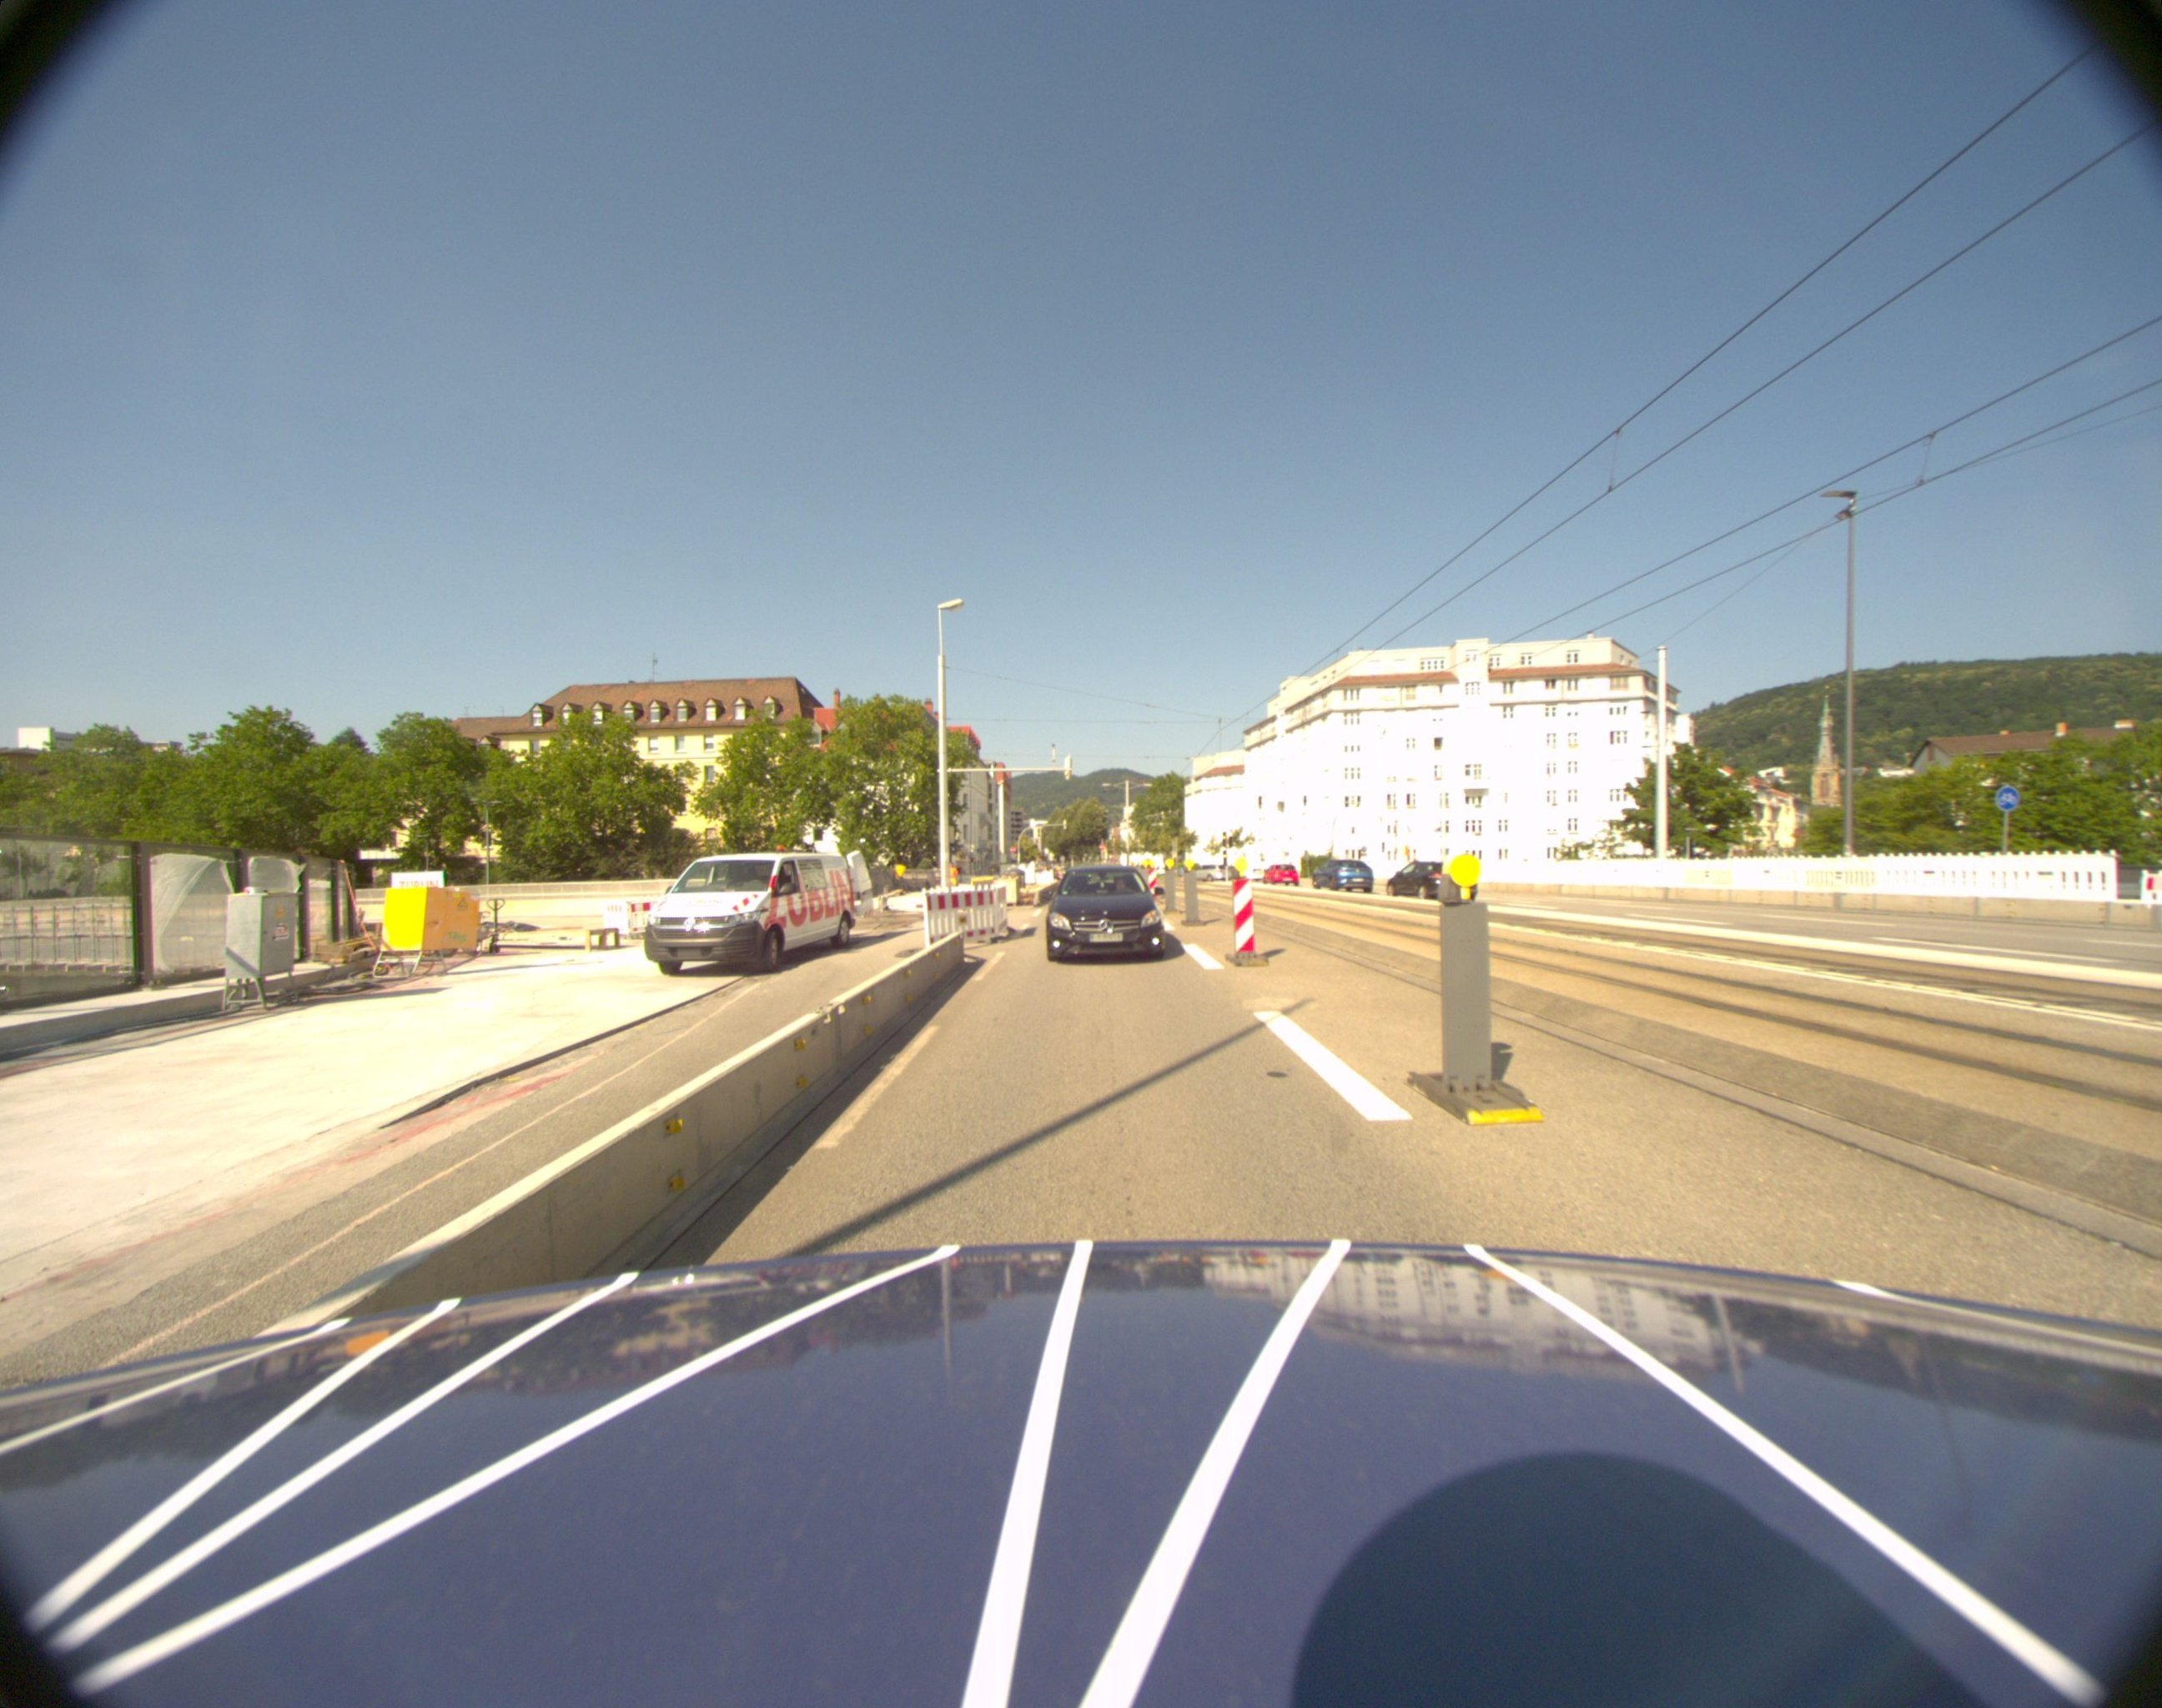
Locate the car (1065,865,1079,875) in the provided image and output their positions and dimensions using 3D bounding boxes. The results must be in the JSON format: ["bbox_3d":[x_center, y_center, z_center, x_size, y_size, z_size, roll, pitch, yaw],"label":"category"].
[{"bbox_3d":[-1.343,2.402,114.860,1.768,1.346,3.998,-2,-1,-6],"label":"car"}]

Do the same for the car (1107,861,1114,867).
[{"bbox_3d":[7.804,2.747,201.322,1.739,1.475,3.739,-1,-1,-3],"label":"car"}]

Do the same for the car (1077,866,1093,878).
[{"bbox_3d":[0.496,2.041,87.748,1.767,1.313,4.001,-2,-1,1],"label":"car"}]

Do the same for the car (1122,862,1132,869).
[{"bbox_3d":[10.425,2.706,173.891,1.740,1.475,3.739,-1,-1,-5],"label":"car"}]

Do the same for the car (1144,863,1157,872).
[{"bbox_3d":[13.008,2.508,142.015,1.740,1.475,3.739,-1,-1,-5],"label":"car"}]

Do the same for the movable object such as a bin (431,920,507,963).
[{"bbox_3d":[-13.165,1.865,16.355,0.754,0.837,1.107,-1,-3,40],"label":"movable object such as a bin"}]

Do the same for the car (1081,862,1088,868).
[{"bbox_3d":[1.046,3.221,222.100,1.798,1.475,3.739,-1,-1,-3],"label":"car"}]

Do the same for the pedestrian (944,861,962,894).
[{"bbox_3d":[-6.912,1.258,40.930,0.821,1.784,0.864,1,0,-1],"label":"pedestrian"}]

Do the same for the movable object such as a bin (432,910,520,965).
[{"bbox_3d":[-14.035,1.943,17.626,2.038,1.123,0.609,-5,1,23],"label":"movable object such as a bin"}]

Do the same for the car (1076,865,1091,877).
[{"bbox_3d":[0.261,2.139,94.950,1.767,1.346,4.000,-2,-1,-1],"label":"car"}]

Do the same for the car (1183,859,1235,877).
[{"bbox_3d":[10.314,1.096,61.458,1.645,1.429,4.633,1,0,-28],"label":"car"}]

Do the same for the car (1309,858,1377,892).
[{"bbox_3d":[12.419,0.971,36.297,1.674,1.541,4.556,0,0,0],"label":"car"}]

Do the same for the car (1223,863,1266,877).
[{"bbox_3d":[16.548,1.599,77.209,1.705,1.403,4.475,0,0,-31],"label":"car"}]

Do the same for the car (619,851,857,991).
[{"bbox_3d":[-5.826,1.009,13.754,1.883,2.021,4.891,-2,0,2],"label":"car"}]

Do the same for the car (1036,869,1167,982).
[{"bbox_3d":[0.377,1.003,12.529,1.702,1.399,4.624,-3,-1,2],"label":"car"}]

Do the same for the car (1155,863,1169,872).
[{"bbox_3d":[13.754,2.285,129.325,1.740,1.475,3.739,-1,-1,-5],"label":"car"}]

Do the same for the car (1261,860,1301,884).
[{"bbox_3d":[13.081,1.158,49.883,1.537,1.428,3.980,3,0,0],"label":"car"}]

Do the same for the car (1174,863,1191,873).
[{"bbox_3d":[15.244,2.069,114.013,1.740,1.475,3.739,-1,-1,-5],"label":"car"}]

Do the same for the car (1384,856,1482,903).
[{"bbox_3d":[12.277,0.852,26.797,1.509,1.491,4.177,1,0,0],"label":"car"}]

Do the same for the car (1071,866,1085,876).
[{"bbox_3d":[-0.389,2.242,101.013,1.767,1.346,4.000,-2,-1,-2],"label":"car"}]

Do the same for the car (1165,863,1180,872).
[{"bbox_3d":[14.669,2.190,122.033,1.740,1.475,3.739,-1,-1,-5],"label":"car"}]
